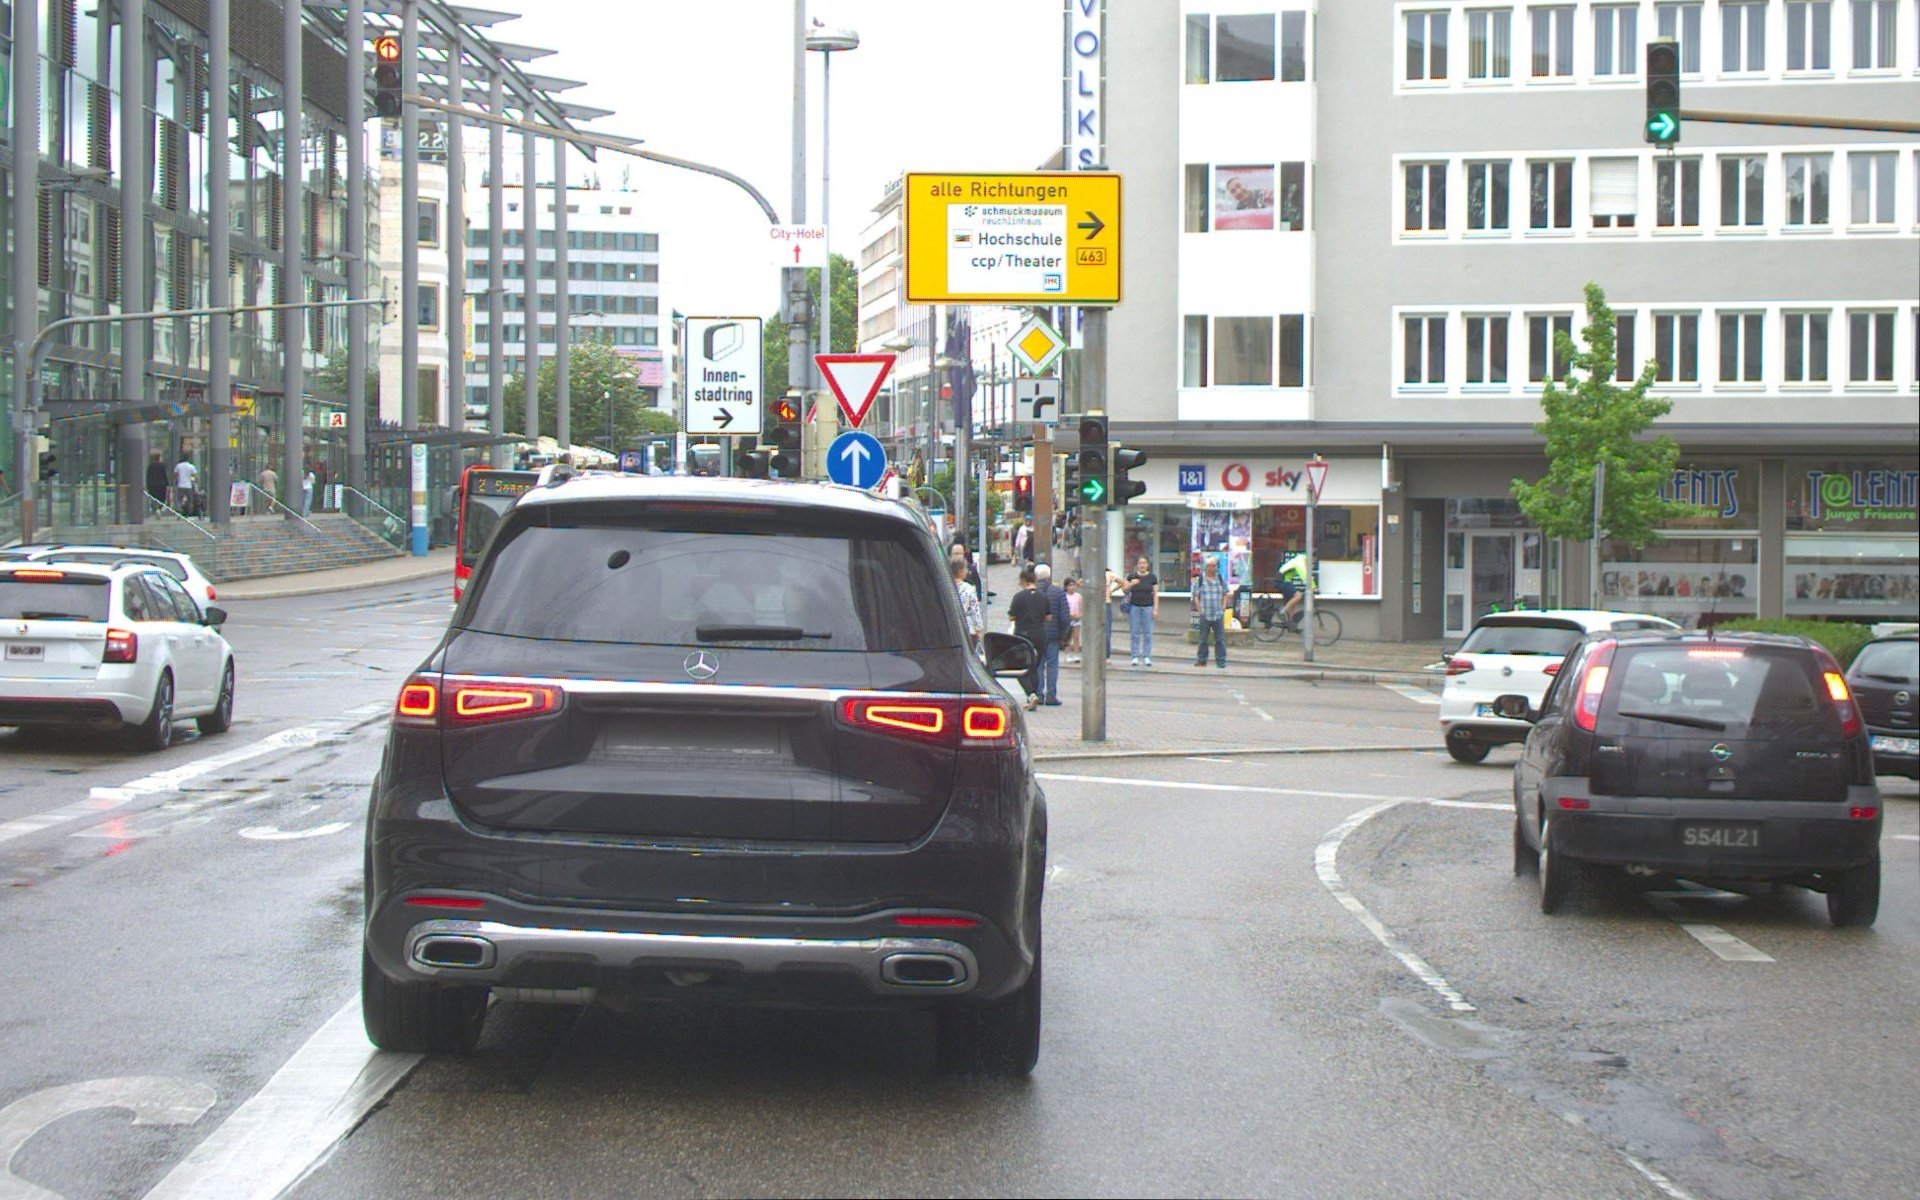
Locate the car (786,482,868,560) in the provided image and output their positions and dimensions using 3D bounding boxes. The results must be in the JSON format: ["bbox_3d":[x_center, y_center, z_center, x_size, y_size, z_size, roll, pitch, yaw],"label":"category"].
[{"bbox_3d":[-6.214,-3.672,161.562,2.445,3.453,6.150,3,1,9],"label":"car"}]

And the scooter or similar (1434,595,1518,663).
[{"bbox_3d":[9.225,0.513,61.457,1.381,1.183,0.543,1,1,19],"label":"scooter or similar"}]

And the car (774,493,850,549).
[{"bbox_3d":[-5.107,-2.726,119.424,2.422,1.774,5.155,3,1,-1],"label":"car"}]

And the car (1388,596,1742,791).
[{"bbox_3d":[5.829,0.831,32.784,1.953,1.568,3.993,4,3,31],"label":"car"}]

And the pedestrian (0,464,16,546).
[{"bbox_3d":[-20.595,-2.017,72.626,1.038,1.707,1.008,2,1,-6],"label":"pedestrian"}]

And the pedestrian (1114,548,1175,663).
[{"bbox_3d":[2.787,0.083,51.967,0.781,1.683,0.638,3,1,8],"label":"pedestrian"}]

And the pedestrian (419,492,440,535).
[{"bbox_3d":[-16.981,-2.762,110.044,0.510,1.336,0.419,3,1,7],"label":"pedestrian"}]

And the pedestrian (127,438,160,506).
[{"bbox_3d":[-21.212,-3.319,89.333,0.680,1.707,0.850,2,1,-6],"label":"pedestrian"}]

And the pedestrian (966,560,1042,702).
[{"bbox_3d":[0.477,0.336,37.139,0.705,1.483,0.560,3,0,4],"label":"pedestrian"}]

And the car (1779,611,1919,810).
[{"bbox_3d":[9.187,0.955,30.290,3.989,1.568,1.955,1,3,-45],"label":"car"}]

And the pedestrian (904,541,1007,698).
[{"bbox_3d":[-0.044,0.207,38.030,0.978,1.666,0.915,3,1,5],"label":"pedestrian"}]

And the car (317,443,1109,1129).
[{"bbox_3d":[-0.825,0.440,11.638,2.087,1.811,4.793,1,2,-4],"label":"car"}]

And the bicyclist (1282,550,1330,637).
[{"bbox_3d":[6.919,-0.129,68.663,0.845,1.698,0.622,1,0,14],"label":"bicyclist"}]

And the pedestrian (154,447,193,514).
[{"bbox_3d":[-20.462,-3.101,89.480,0.827,1.707,0.802,2,1,-6],"label":"pedestrian"}]

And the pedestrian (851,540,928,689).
[{"bbox_3d":[-0.821,0.172,40.283,0.756,1.686,0.693,3,-1,4],"label":"pedestrian"}]

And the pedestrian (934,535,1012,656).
[{"bbox_3d":[0.191,-0.078,52.425,1.009,1.781,0.853,3,1,-7],"label":"pedestrian"}]

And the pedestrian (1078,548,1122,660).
[{"bbox_3d":[2.122,0.052,51.988,0.569,1.663,0.501,2,1,6],"label":"pedestrian"}]

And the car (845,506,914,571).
[{"bbox_3d":[-2.427,-1.844,102.894,1.860,1.820,4.104,3,1,-3],"label":"car"}]

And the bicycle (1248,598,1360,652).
[{"bbox_3d":[6.875,0.499,68.672,2.139,0.989,0.694,2,1,14],"label":"bicycle"}]

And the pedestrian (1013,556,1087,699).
[{"bbox_3d":[1.026,0.306,38.992,0.713,1.563,0.854,3,0,4],"label":"pedestrian"}]

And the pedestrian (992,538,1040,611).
[{"bbox_3d":[1.399,-0.638,85.835,1.022,1.769,0.800,3,1,-6],"label":"pedestrian"}]

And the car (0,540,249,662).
[{"bbox_3d":[-11.526,-0.012,43.163,4.739,1.441,1.791,1,1,-37],"label":"car"}]

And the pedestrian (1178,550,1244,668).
[{"bbox_3d":[3.879,0.131,53.112,0.829,1.772,0.618,3,1,-6],"label":"pedestrian"}]

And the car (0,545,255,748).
[{"bbox_3d":[-6.984,0.304,27.542,1.792,1.411,4.632,2,1,-1],"label":"car"}]

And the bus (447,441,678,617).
[{"bbox_3d":[-8.504,-1.498,76.164,2.920,3.309,18.479,2,1,0],"label":"bus"}]

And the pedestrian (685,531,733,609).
[{"bbox_3d":[-6.245,-0.739,85.502,0.955,1.880,0.810,3,1,6],"label":"pedestrian"}]

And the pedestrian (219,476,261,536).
[{"bbox_3d":[-21.316,-2.783,101.808,1.038,1.707,1.008,2,1,-6],"label":"pedestrian"}]

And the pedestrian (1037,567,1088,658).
[{"bbox_3d":[1.553,0.181,52.045,0.630,1.335,0.588,3,1,-6],"label":"pedestrian"}]

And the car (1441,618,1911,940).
[{"bbox_3d":[3.596,0.842,17.889,1.717,1.415,3.770,2,0,2],"label":"car"}]

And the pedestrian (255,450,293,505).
[{"bbox_3d":[-22.128,-3.949,110.902,1.038,1.707,1.008,2,1,-6],"label":"pedestrian"}]

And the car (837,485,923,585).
[{"bbox_3d":[-2.594,-2.066,109.452,2.444,2.947,6.154,3,1,-3],"label":"car"}]
